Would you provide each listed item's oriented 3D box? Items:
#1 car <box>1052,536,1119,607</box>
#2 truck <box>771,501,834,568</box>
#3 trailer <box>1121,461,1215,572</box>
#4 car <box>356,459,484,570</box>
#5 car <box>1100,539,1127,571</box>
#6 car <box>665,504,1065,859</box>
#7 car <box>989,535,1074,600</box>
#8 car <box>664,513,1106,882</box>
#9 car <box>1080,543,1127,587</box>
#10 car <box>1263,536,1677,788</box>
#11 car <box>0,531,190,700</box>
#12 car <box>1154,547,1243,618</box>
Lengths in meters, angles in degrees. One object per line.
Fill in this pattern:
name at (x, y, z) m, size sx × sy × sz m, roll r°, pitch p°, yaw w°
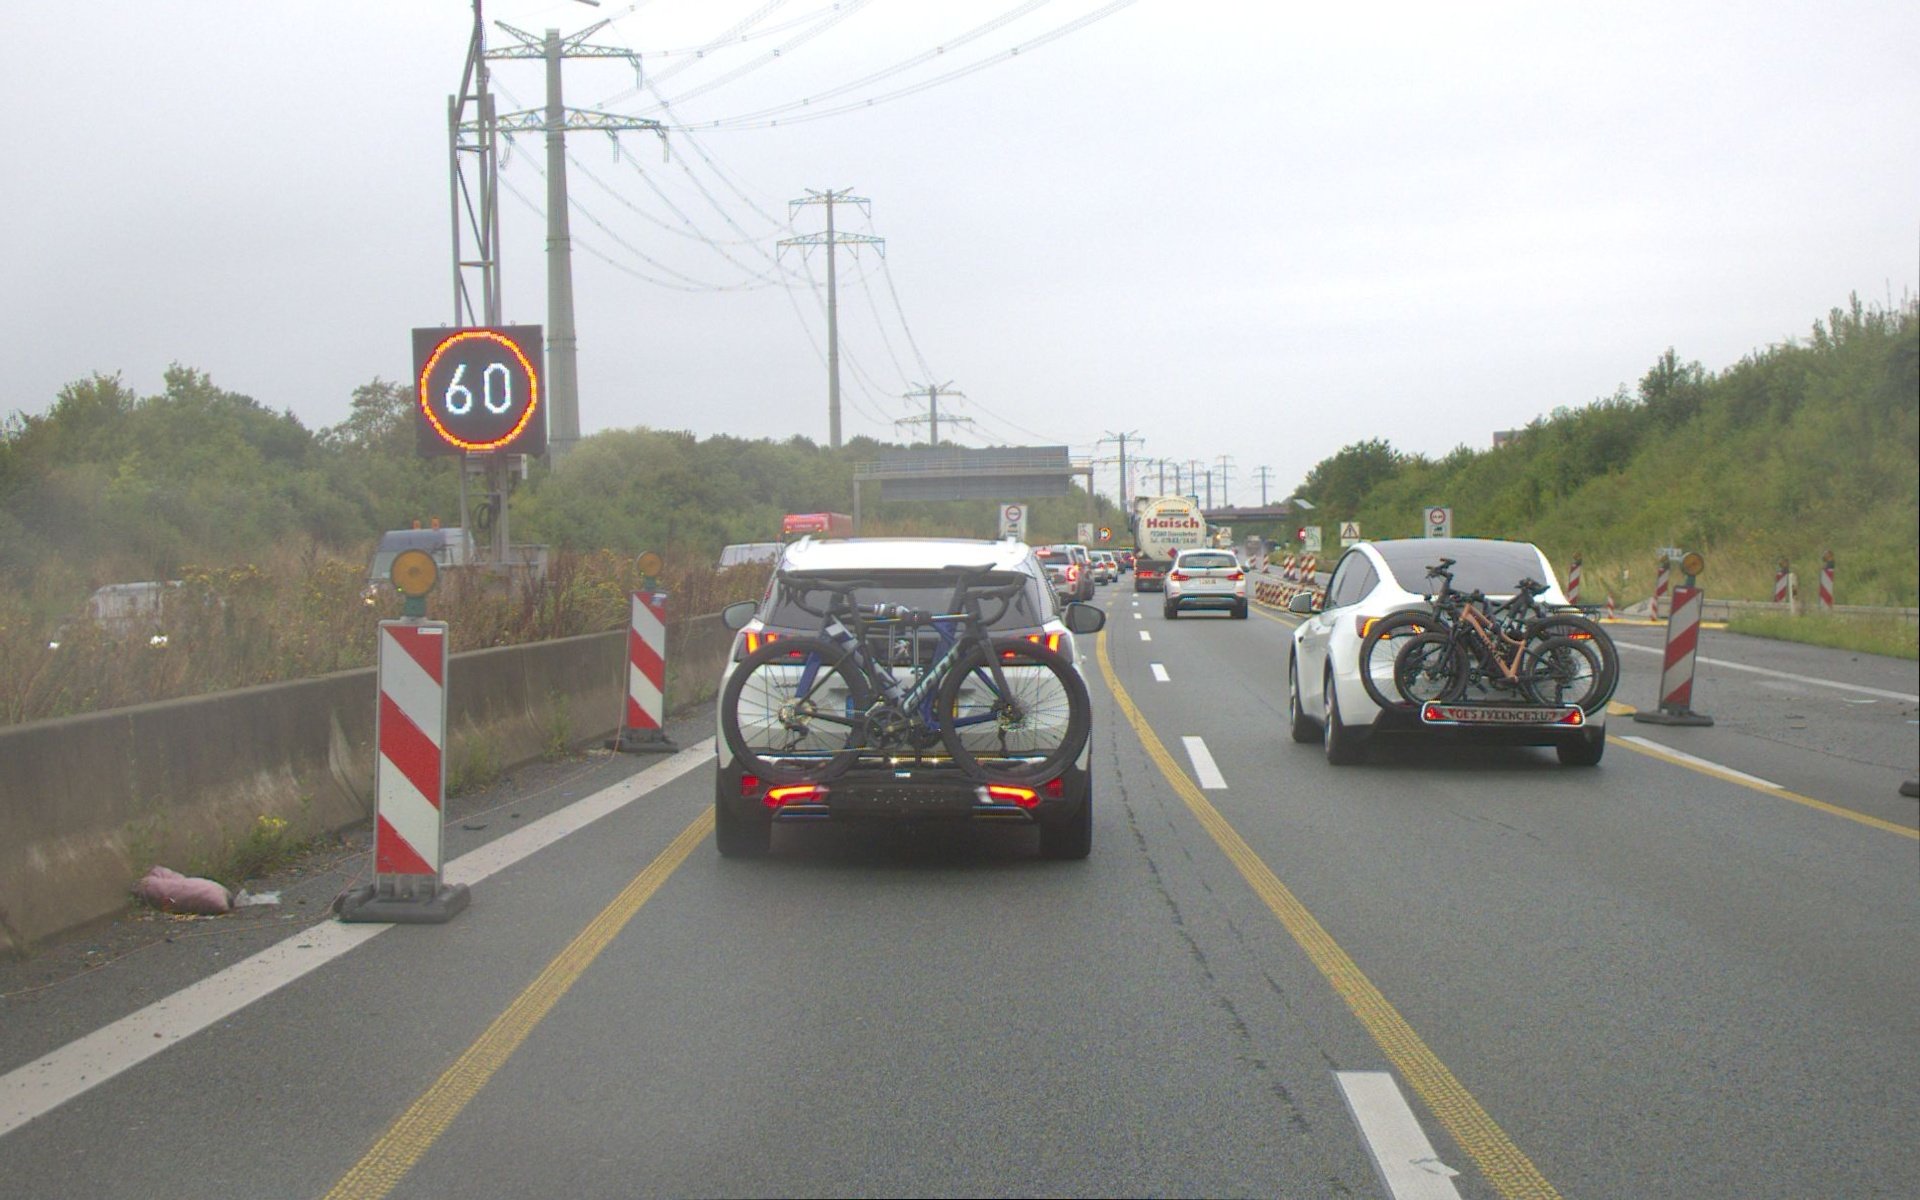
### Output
car at (4.141, -0.962, 113.777) m, size 1.993 × 2.006 × 4.001 m, roll 1°, pitch 5°, yaw -1°
truck at (-8.489, -3.505, 185.483) m, size 3.024 × 3.519 × 4.926 m, roll 1°, pitch 0°, yaw 1°
trailer at (7.605, -2.993, 127.000) m, size 2.637 × 3.880 × 10.544 m, roll 1°, pitch 0°, yaw -1°
car at (-13.227, -2.051, 84.528) m, size 2.050 × 2.600 × 5.847 m, roll 1°, pitch 0°, yaw 1°
car at (9.624, -2.821, 215.441) m, size 1.654 × 2.007 × 4.000 m, roll 0°, pitch 1°, yaw 3°
car at (-0.450, 0.376, 19.486) m, size 1.993 × 1.754 × 4.000 m, roll -1°, pitch 1°, yaw 1°
car at (1.756, -0.828, 86.095) m, size 1.993 × 1.578 × 4.000 m, roll 0°, pitch 1°, yaw -1°
car at (-0.264, 0.389, 17.350) m, size 1.928 × 1.605 × 4.595 m, roll 0°, pitch 1°, yaw 2°
car at (6.679, -1.617, 160.433) m, size 1.993 × 2.007 × 4.000 m, roll 1°, pitch 0°, yaw -1°
car at (3.527, 0.361, 24.948) m, size 2.045 × 1.590 × 5.802 m, roll 1°, pitch 1°, yaw -1°
car at (-11.201, 0.175, 43.253) m, size 1.993 × 2.007 × 4.000 m, roll 1°, pitch 0°, yaw 2°
car at (5.232, -0.403, 75.853) m, size 1.870 × 1.529 × 4.196 m, roll 0°, pitch 1°, yaw 3°
